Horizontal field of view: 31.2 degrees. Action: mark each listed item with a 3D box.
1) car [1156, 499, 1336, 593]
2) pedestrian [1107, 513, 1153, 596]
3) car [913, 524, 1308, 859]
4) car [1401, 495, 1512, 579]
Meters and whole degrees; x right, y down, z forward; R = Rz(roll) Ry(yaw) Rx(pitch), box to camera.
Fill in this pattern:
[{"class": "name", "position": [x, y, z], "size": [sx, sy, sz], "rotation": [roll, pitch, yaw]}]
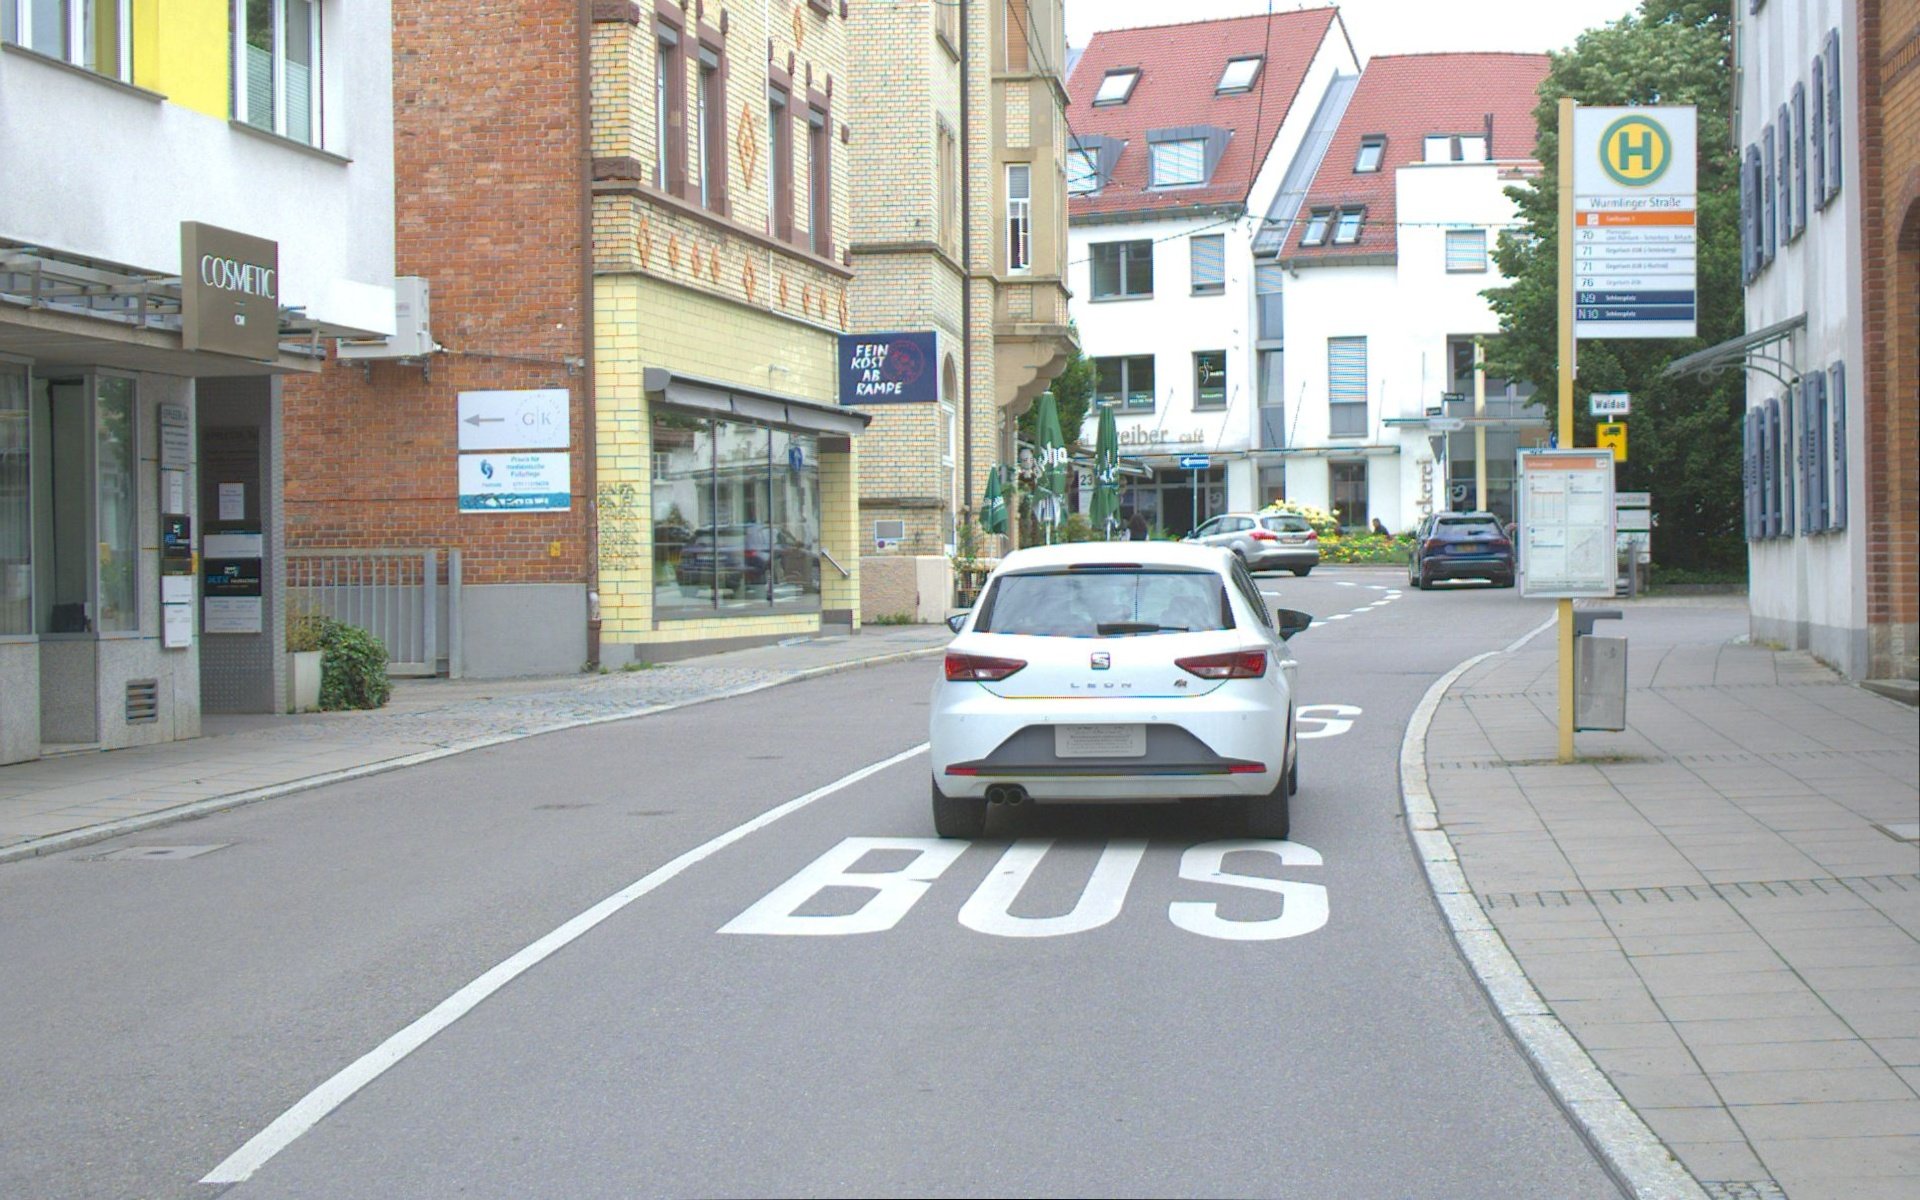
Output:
[{"class": "car", "position": [6.338, -1.206, 76.448], "size": [1.993, 2.007, 4.000], "rotation": [-1, 1, -31]}, {"class": "pedestrian", "position": [3.193, -0.860, 64.628], "size": [0.834, 1.546, 0.627], "rotation": [-1, 1, 4]}, {"class": "car", "position": [0.886, 0.386, 17.839], "size": [1.812, 1.475, 3.870], "rotation": [-1, 2, 6]}, {"class": "car", "position": [9.265, -1.201, 64.342], "size": [1.812, 1.475, 3.870], "rotation": [-1, 2, 5]}]
